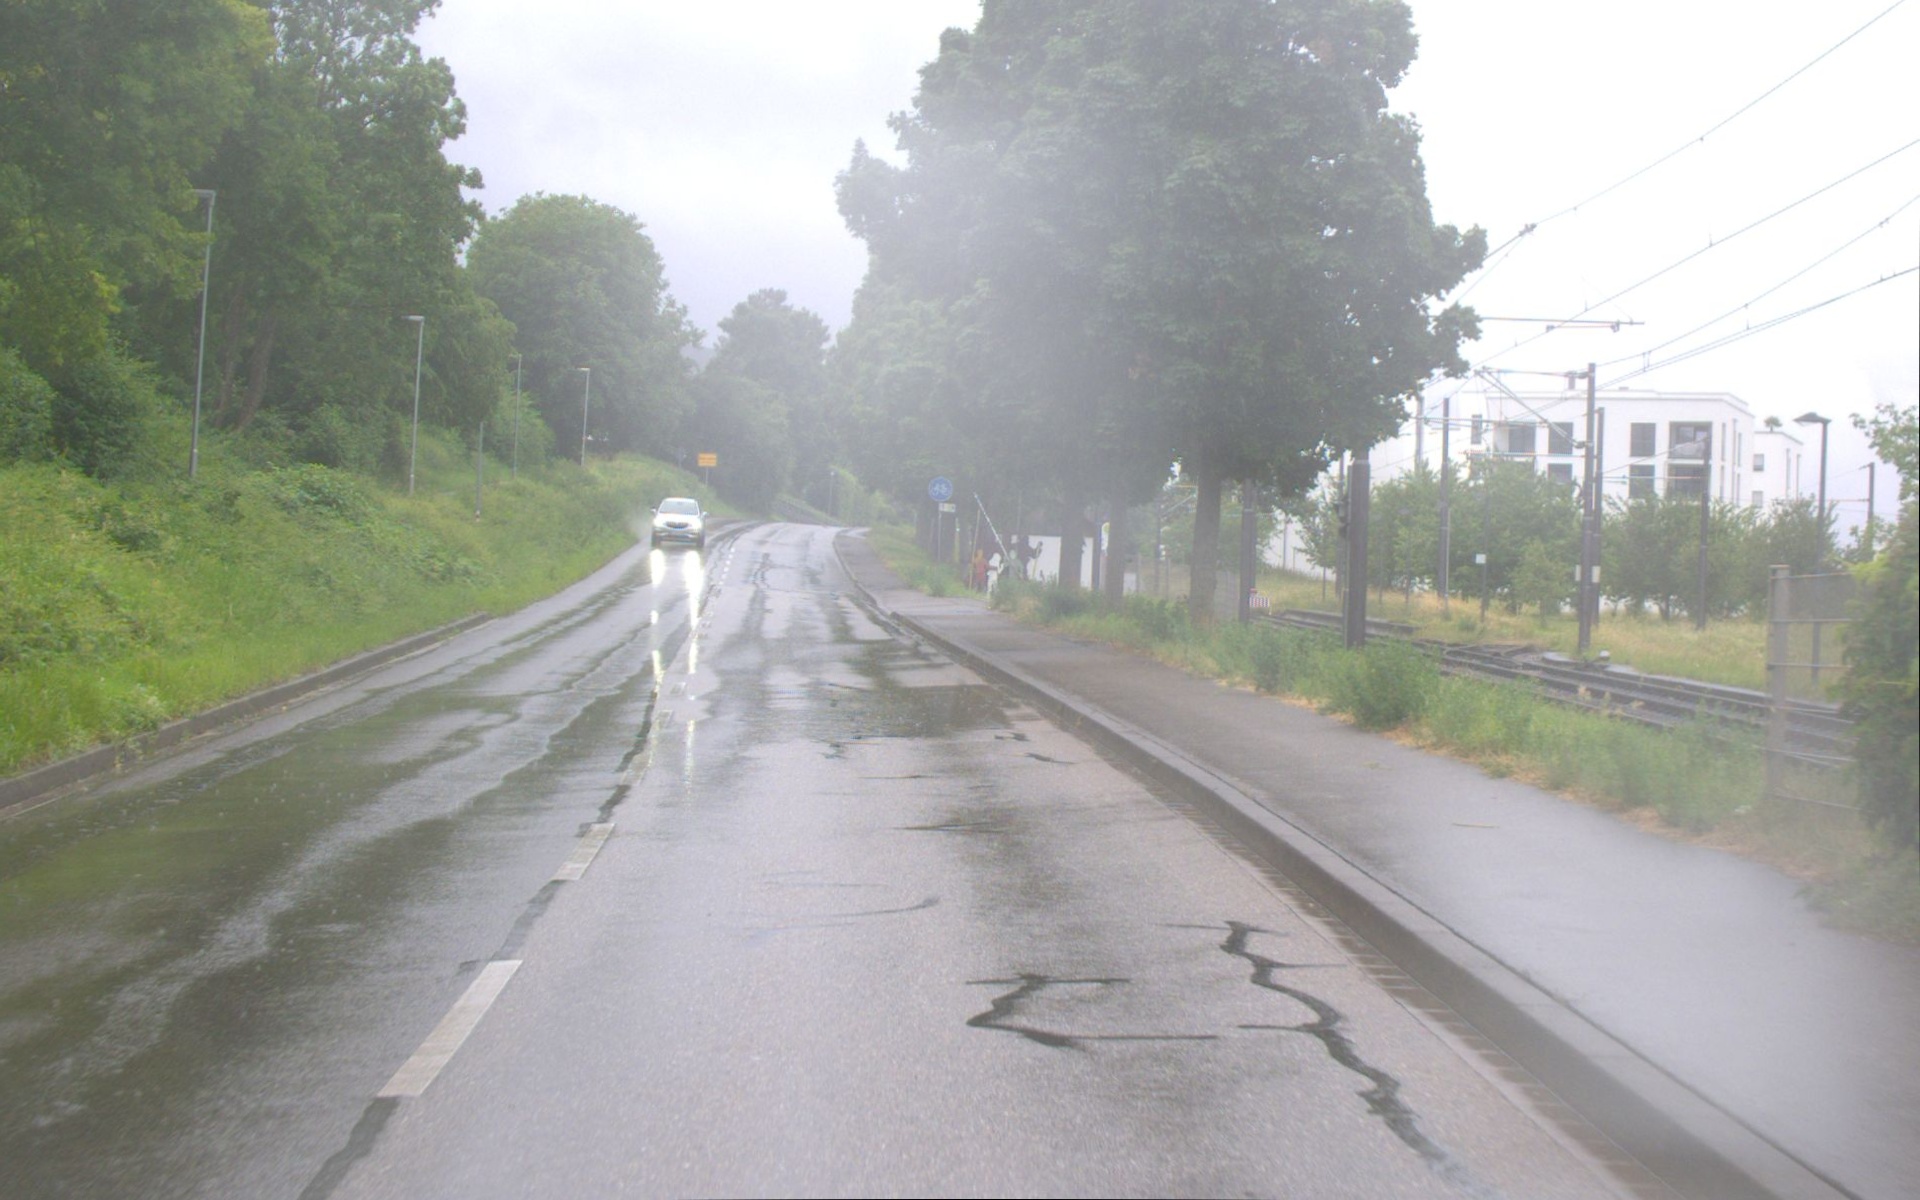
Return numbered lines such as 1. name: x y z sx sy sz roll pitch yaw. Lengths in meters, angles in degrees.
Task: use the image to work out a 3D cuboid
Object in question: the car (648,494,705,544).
1. car: -9.950 -2.850 120.539 1.744 1.606 4.089 2 2 -7
